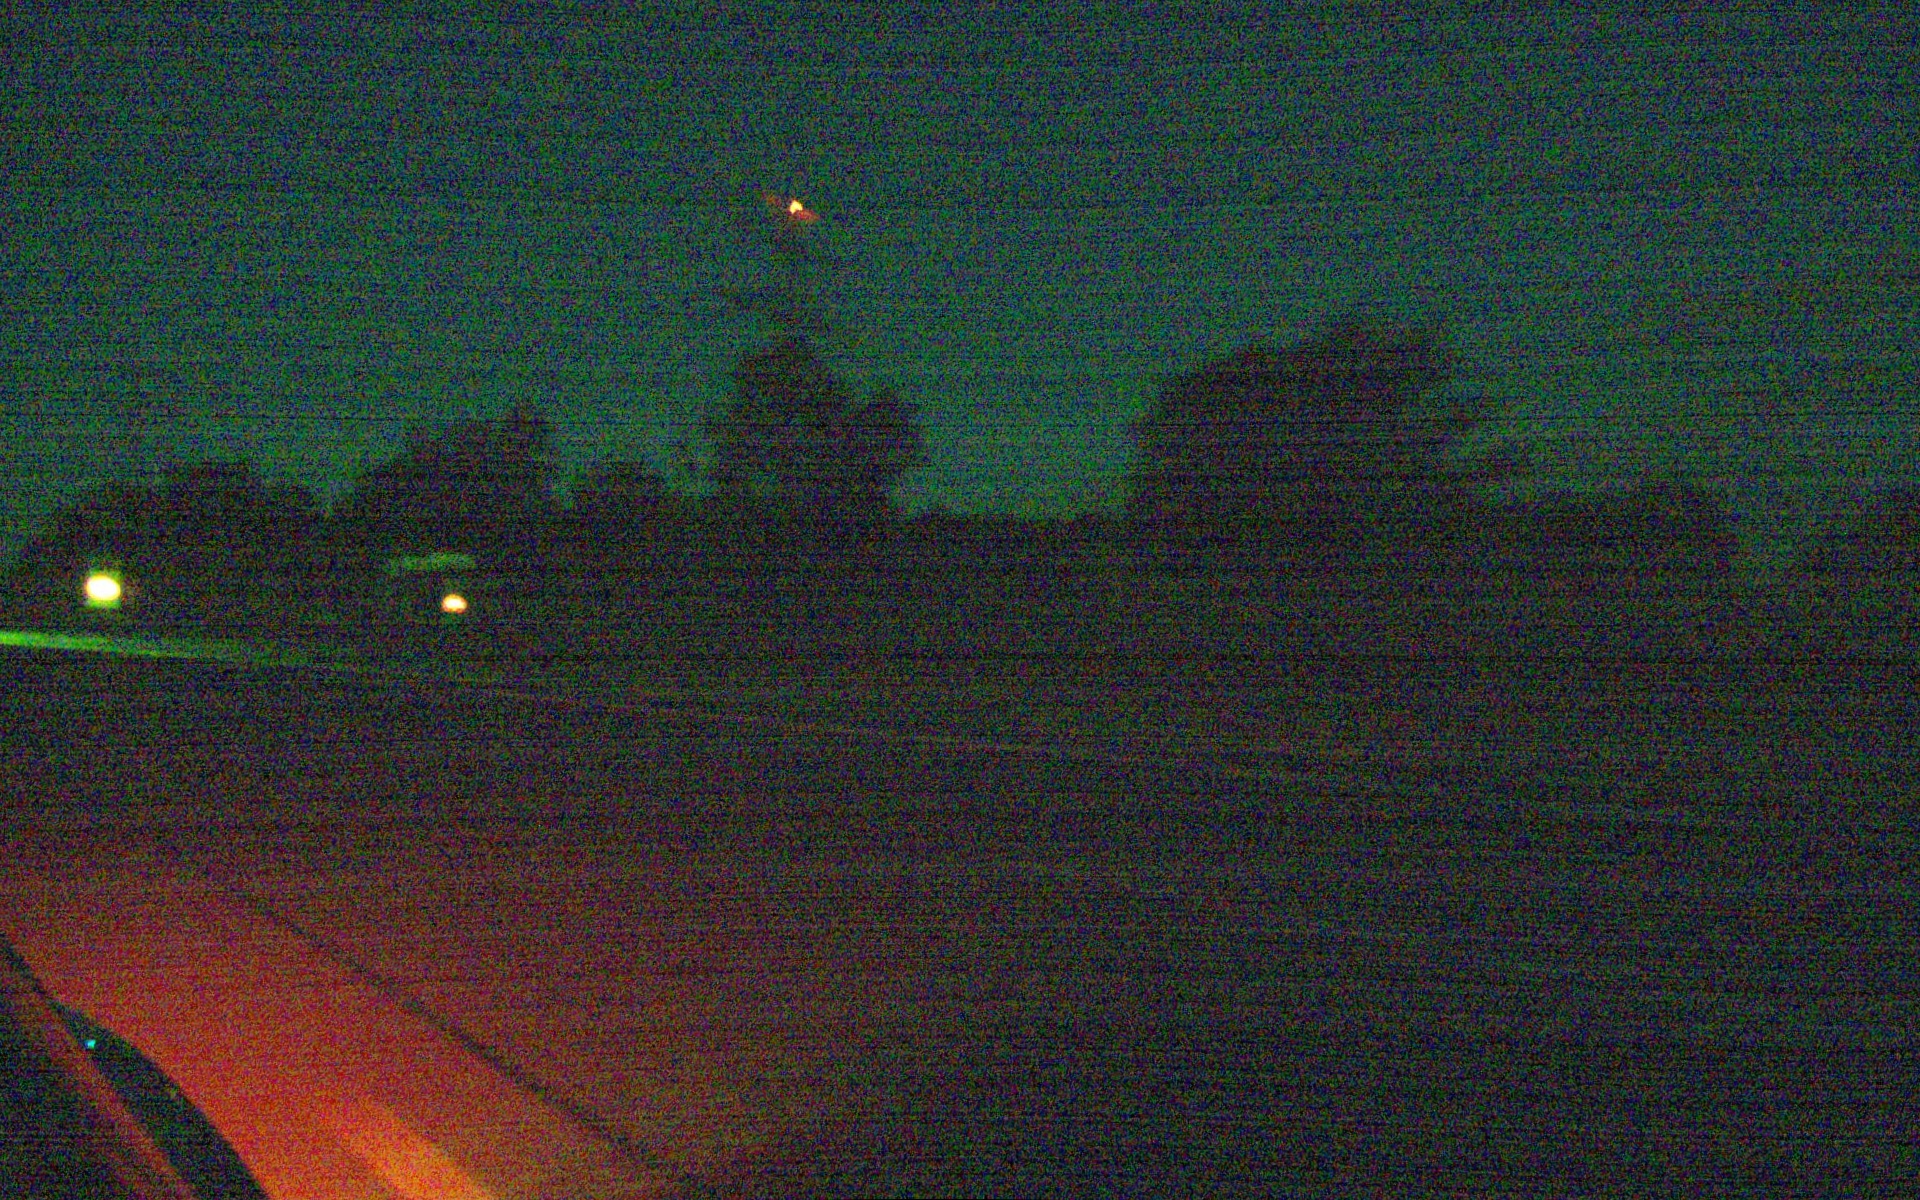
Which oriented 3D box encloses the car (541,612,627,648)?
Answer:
[{"bbox_3d":[-16.386,1.290,44.049,3.998,1.431,1.822,-2,-1,41],"label":"car"}]
